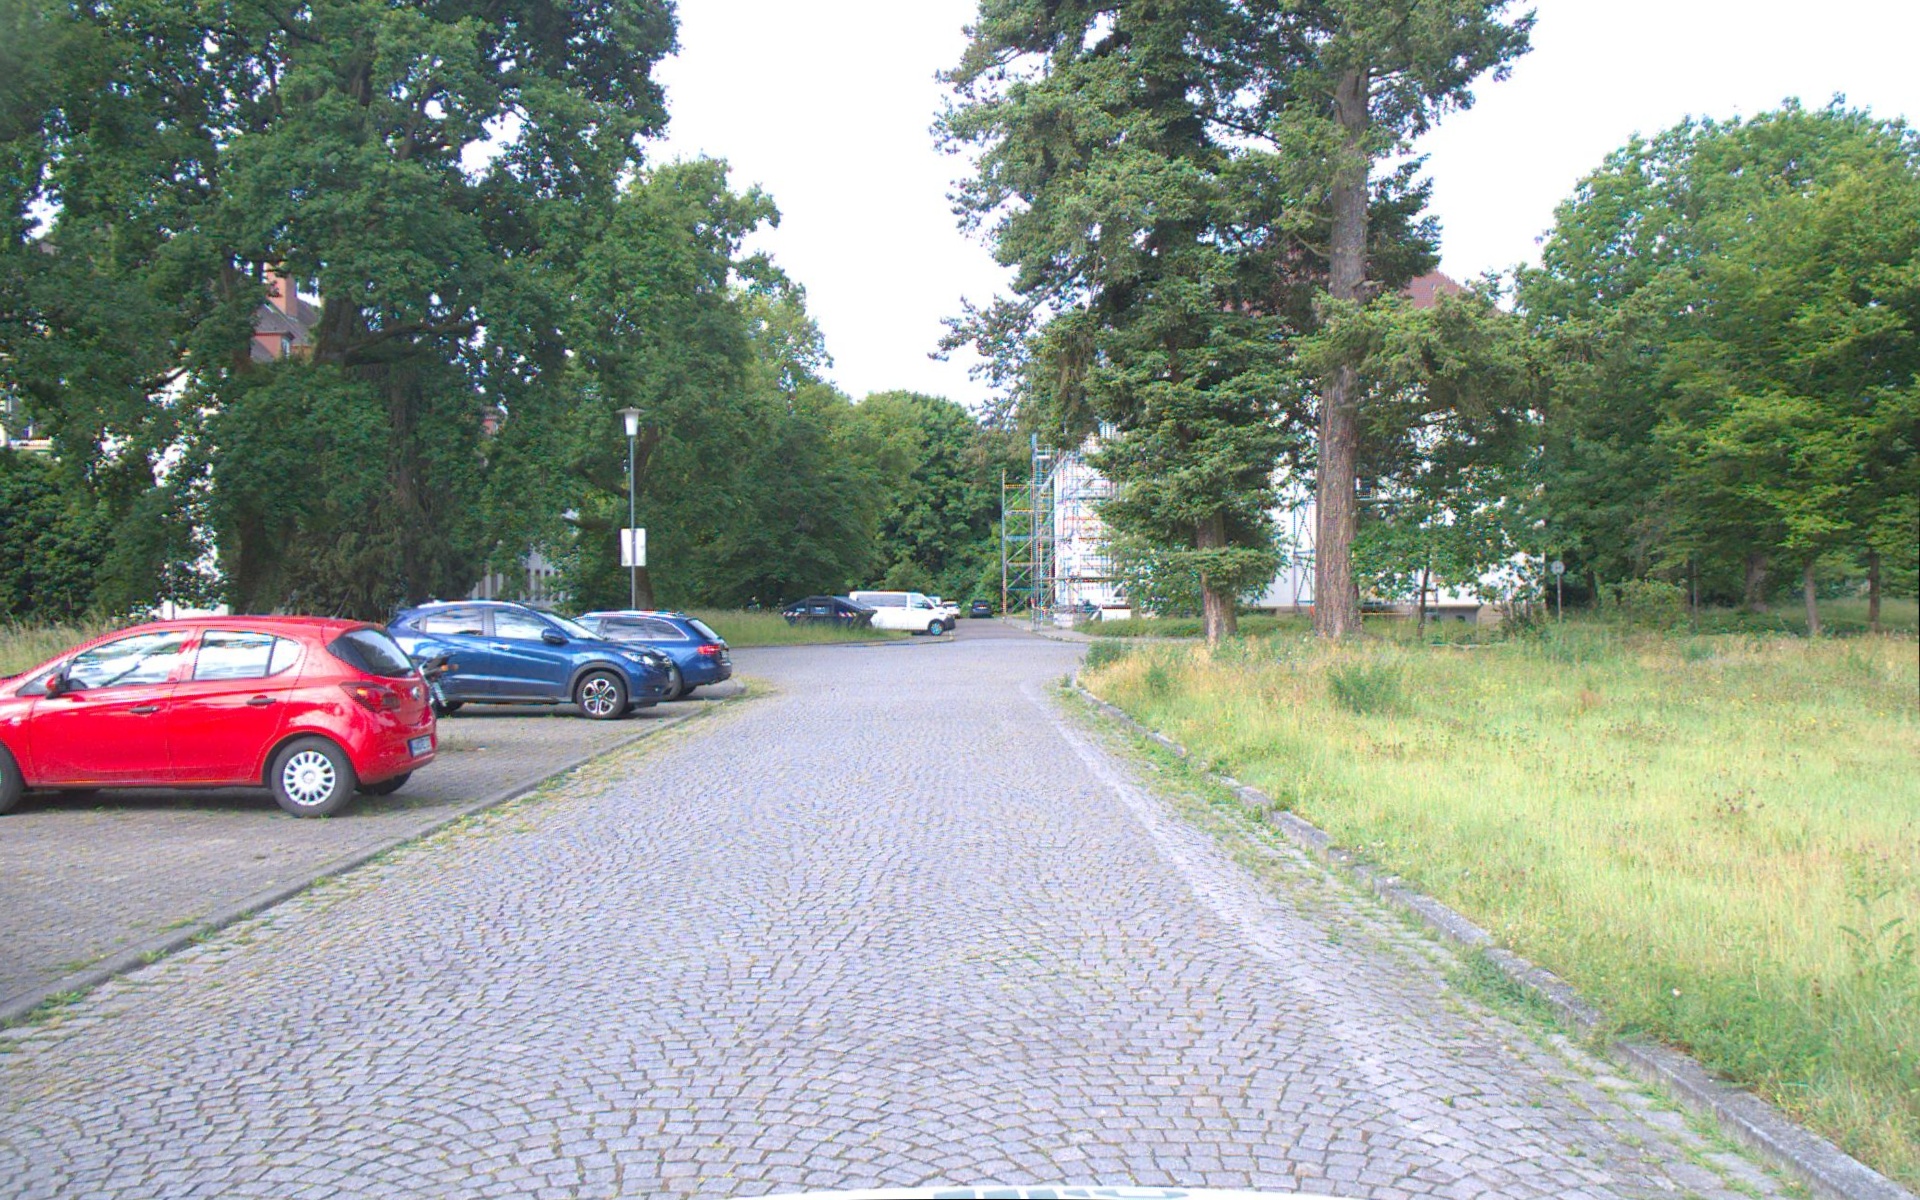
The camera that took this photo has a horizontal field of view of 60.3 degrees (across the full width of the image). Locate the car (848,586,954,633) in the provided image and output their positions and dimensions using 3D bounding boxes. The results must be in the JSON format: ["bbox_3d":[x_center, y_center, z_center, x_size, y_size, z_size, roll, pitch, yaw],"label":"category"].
[{"bbox_3d":[-2.723,0.451,77.120,4.878,2.109,2.051,0,-2,-2],"label":"car"}]

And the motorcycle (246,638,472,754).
[{"bbox_3d":[-6.416,1.017,17.710,2.180,1.179,0.647,-1,0,2],"label":"motorcycle"}]

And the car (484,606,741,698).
[{"bbox_3d":[-5.850,0.857,28.101,3.986,1.493,1.626,0,0,3],"label":"car"}]

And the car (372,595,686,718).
[{"bbox_3d":[-6.002,0.763,23.403,3.989,1.632,1.787,0,0,-2],"label":"car"}]

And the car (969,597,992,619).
[{"bbox_3d":[1.782,0.706,143.545,1.754,1.750,4.059,-1,-2,-2],"label":"car"}]

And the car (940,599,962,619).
[{"bbox_3d":[-0.785,0.785,143.187,1.754,1.665,4.059,-1,-2,-2],"label":"car"}]

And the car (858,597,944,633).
[{"bbox_3d":[-3.366,0.841,94.521,4.878,2.003,2.051,0,-2,-2],"label":"car"}]

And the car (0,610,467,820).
[{"bbox_3d":[-6.060,0.857,13.151,3.738,1.515,1.787,0,0,-2],"label":"car"}]
